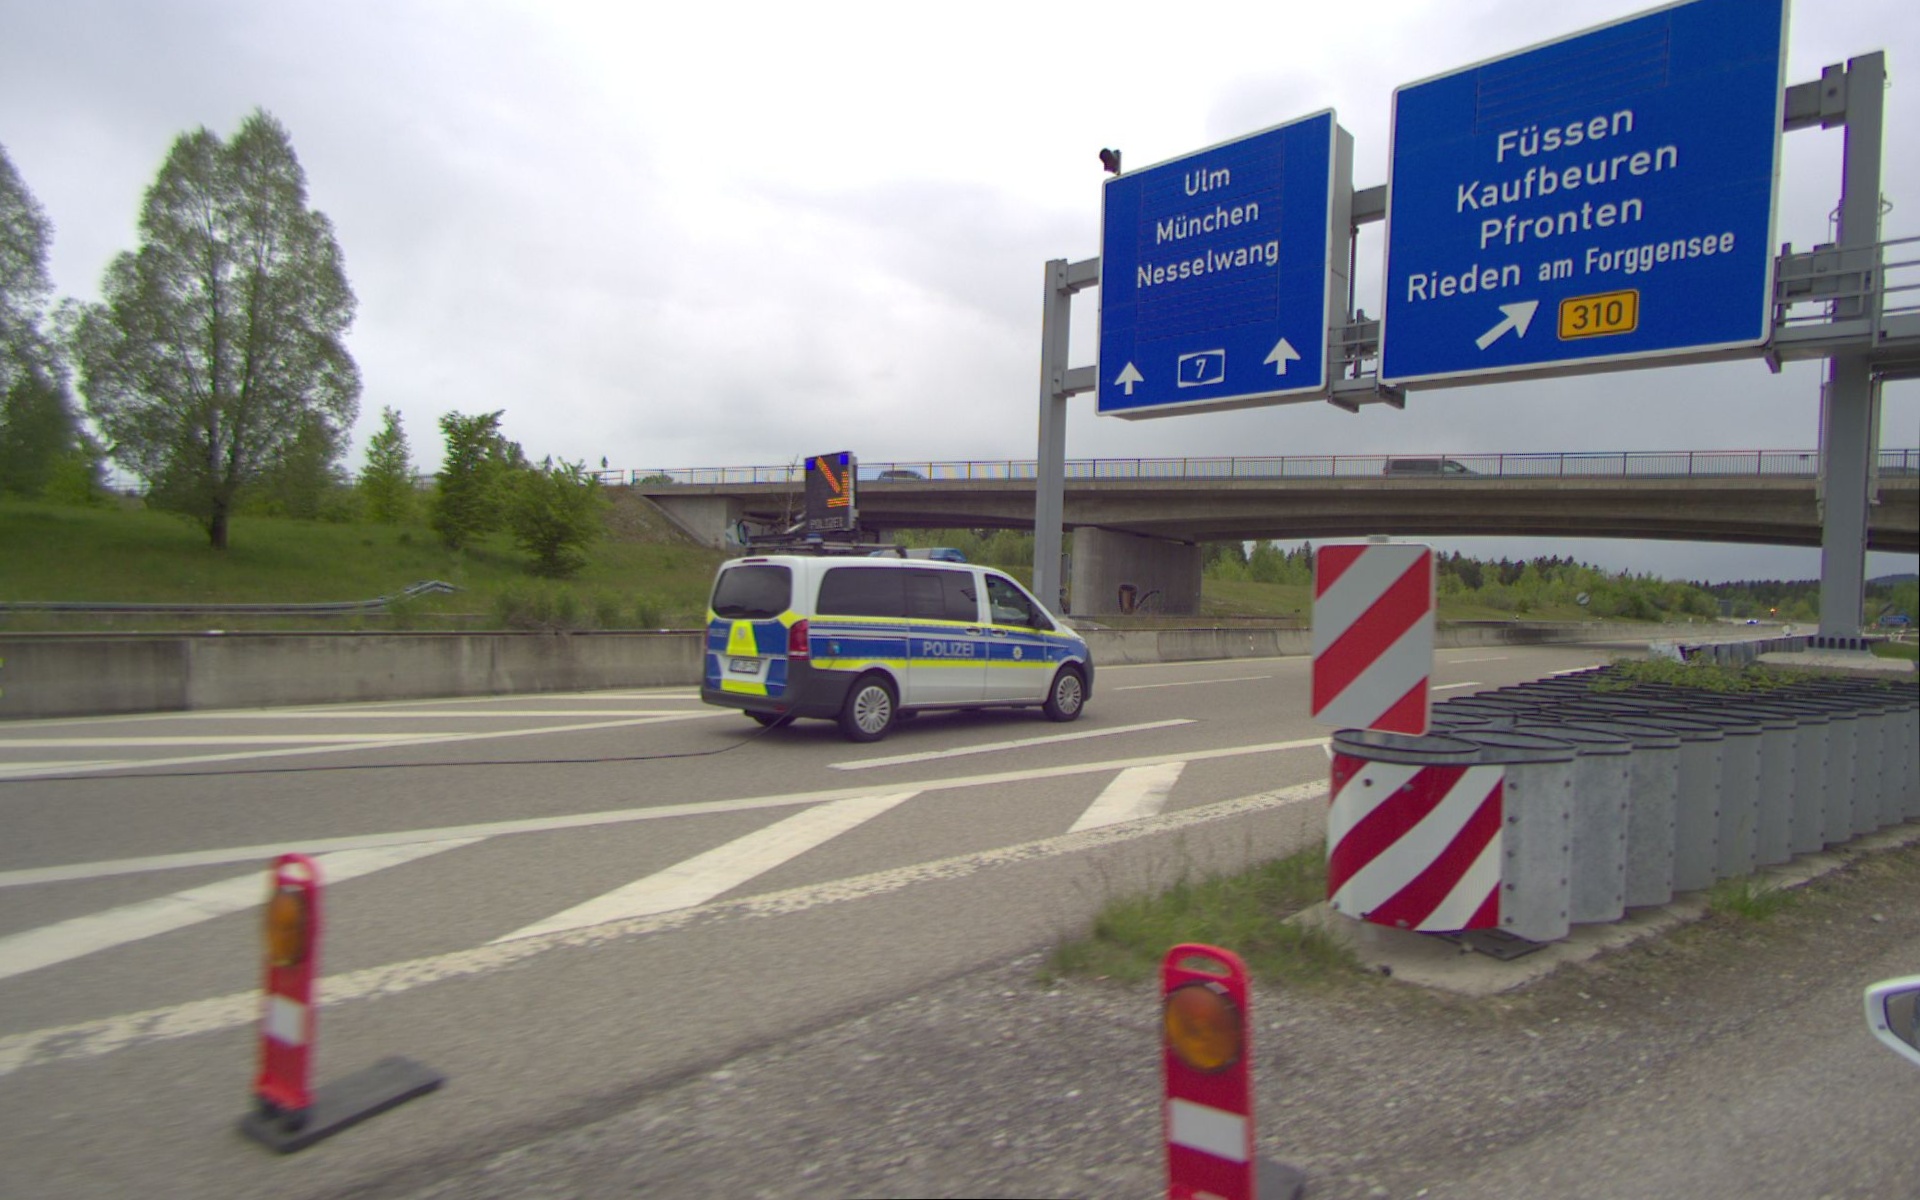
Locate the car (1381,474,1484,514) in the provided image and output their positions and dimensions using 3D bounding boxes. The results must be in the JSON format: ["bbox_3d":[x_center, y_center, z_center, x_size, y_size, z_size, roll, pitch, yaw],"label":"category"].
[{"bbox_3d":[25.104,-5.624,53.576,4.843,1.669,1.999,0,-1,22],"label":"car"}]

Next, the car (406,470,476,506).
[{"bbox_3d":[-43.454,-9.341,84.096,5.643,2.281,1.999,-3,-2,23],"label":"car"}]

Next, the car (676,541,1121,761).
[{"bbox_3d":[-0.520,0.535,11.915,5.016,2.040,2.263,2,-1,-44],"label":"car"}]
